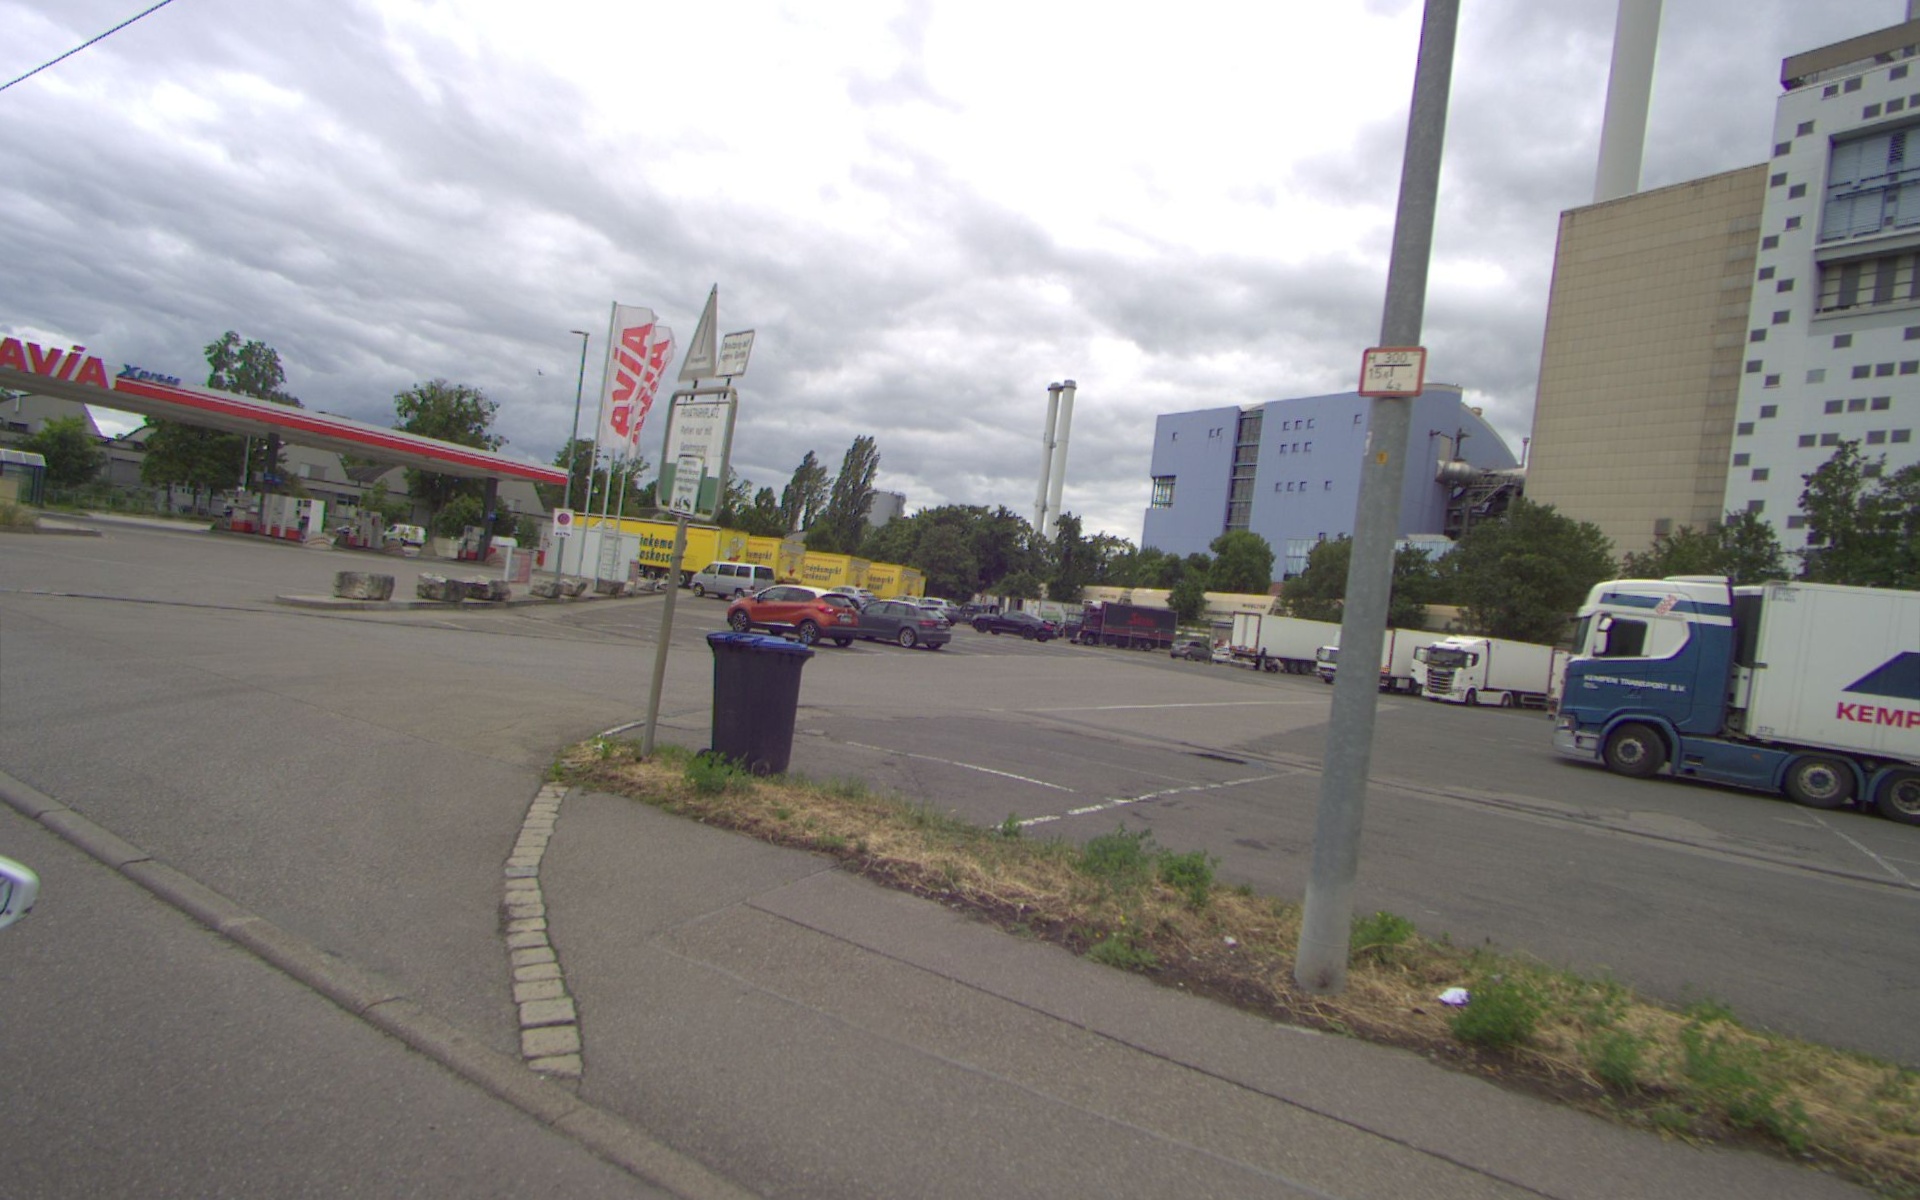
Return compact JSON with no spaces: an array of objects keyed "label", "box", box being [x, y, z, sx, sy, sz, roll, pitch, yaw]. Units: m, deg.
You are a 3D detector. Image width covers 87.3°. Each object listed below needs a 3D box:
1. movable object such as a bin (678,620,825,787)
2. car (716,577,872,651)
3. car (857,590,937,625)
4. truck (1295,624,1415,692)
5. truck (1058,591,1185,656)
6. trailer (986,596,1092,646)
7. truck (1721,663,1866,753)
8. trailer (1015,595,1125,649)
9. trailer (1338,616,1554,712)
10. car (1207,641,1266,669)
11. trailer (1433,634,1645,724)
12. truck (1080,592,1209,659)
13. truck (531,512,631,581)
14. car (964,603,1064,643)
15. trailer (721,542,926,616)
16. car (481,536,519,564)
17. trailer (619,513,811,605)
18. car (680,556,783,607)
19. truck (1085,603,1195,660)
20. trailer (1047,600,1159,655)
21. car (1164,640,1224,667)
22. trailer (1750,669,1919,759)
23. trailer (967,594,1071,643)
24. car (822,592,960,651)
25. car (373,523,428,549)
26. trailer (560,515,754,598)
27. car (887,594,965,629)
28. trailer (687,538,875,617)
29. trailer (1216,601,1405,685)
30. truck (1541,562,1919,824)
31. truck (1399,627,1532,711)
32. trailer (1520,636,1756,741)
[{"label":"movable object such as a bin","box":[-1.533,0.748,7.466,0.651,1.094,0.716,8,0,25]},{"label":"car","box":[-4.767,0.396,28.699,4.145,1.591,1.766,7,1,31]},{"label":"car","box":[-3.984,0.468,63.624,4.611,1.620,1.986,7,0,31]},{"label":"truck","box":[26.939,3.976,68.557,7.181,3.601,3.681,8,0,-31]},{"label":"truck","box":[14.479,2.137,89.451,11.860,4.342,2.848,8,-1,-33]},{"label":"trailer","box":[9.314,2.478,116.957,12.463,4.354,3.527,8,-1,-34]},{"label":"truck","box":[46.211,5.991,55.729,7.180,4.013,3.682,8,0,-31]},{"label":"trailer","box":[12.252,2.489,111.164,12.463,4.354,3.527,8,-1,-34]},{"label":"trailer","box":[33.027,4.488,67.667,18.102,4.554,3.530,8,-1,-31]},{"label":"car","box":[21.882,4.371,79.554,4.649,1.620,1.970,8,0,-36]},{"label":"trailer","box":[38.574,5.364,66.399,18.313,4.139,3.612,8,0,-32]},{"label":"truck","box":[16.019,2.258,86.769,11.860,4.342,2.848,8,-1,-33]},{"label":"truck","box":[-25.830,-3.643,68.548,5.939,3.964,2.960,7,1,31]},{"label":"car","box":[2.723,1.164,50.989,4.606,1.386,1.986,7,0,31]},{"label":"trailer","box":[-11.011,-1.763,78.418,17.768,3.964,2.693,7,1,31]},{"label":"car","box":[-42.220,-4.620,92.283,2.083,2.129,4.853,6,0,-36]},{"label":"trailer","box":[-16.706,-2.853,67.627,14.062,4.782,3.003,7,1,31]},{"label":"car","box":[-11.535,-0.959,50.628,4.868,1.936,1.986,7,0,31]},{"label":"truck","box":[18.241,3.221,101.324,11.860,4.342,2.848,8,-1,-33]},{"label":"trailer","box":[15.392,3.003,107.626,12.463,4.354,3.527,8,-1,-34]},{"label":"car","box":[18.722,4.270,80.461,4.649,1.620,1.970,8,0,-36]},{"label":"trailer","box":[53.845,7.069,60.429,18.309,4.007,3.612,8,0,-31]},{"label":"trailer","box":[7.132,2.292,120.368,12.463,4.354,3.642,8,-1,-34]},{"label":"car","box":[-2.287,0.687,32.852,4.145,1.409,1.766,7,1,31]},{"label":"car","box":[-47.599,-5.429,85.591,4.576,1.666,1.964,7,0,31]},{"label":"trailer","box":[-19.772,-2.922,64.911,14.062,3.964,3.003,7,1,31]},{"label":"car","box":[-2.251,0.735,65.411,4.611,1.620,1.986,7,0,31]},{"label":"trailer","box":[-13.733,-1.813,75.730,15.461,4.314,3.024,7,1,31]},{"label":"trailer","box":[27.610,3.470,78.284,18.121,4.554,3.527,8,-1,-34]},{"label":"truck","box":[18.086,1.981,18.029,12.852,4.019,3.076,7,2,32]},{"label":"truck","box":[30.948,4.255,61.544,7.184,4.171,3.680,8,0,-32]},{"label":"trailer","box":[39.185,5.218,57.566,18.309,4.223,3.612,8,0,-31]}]
